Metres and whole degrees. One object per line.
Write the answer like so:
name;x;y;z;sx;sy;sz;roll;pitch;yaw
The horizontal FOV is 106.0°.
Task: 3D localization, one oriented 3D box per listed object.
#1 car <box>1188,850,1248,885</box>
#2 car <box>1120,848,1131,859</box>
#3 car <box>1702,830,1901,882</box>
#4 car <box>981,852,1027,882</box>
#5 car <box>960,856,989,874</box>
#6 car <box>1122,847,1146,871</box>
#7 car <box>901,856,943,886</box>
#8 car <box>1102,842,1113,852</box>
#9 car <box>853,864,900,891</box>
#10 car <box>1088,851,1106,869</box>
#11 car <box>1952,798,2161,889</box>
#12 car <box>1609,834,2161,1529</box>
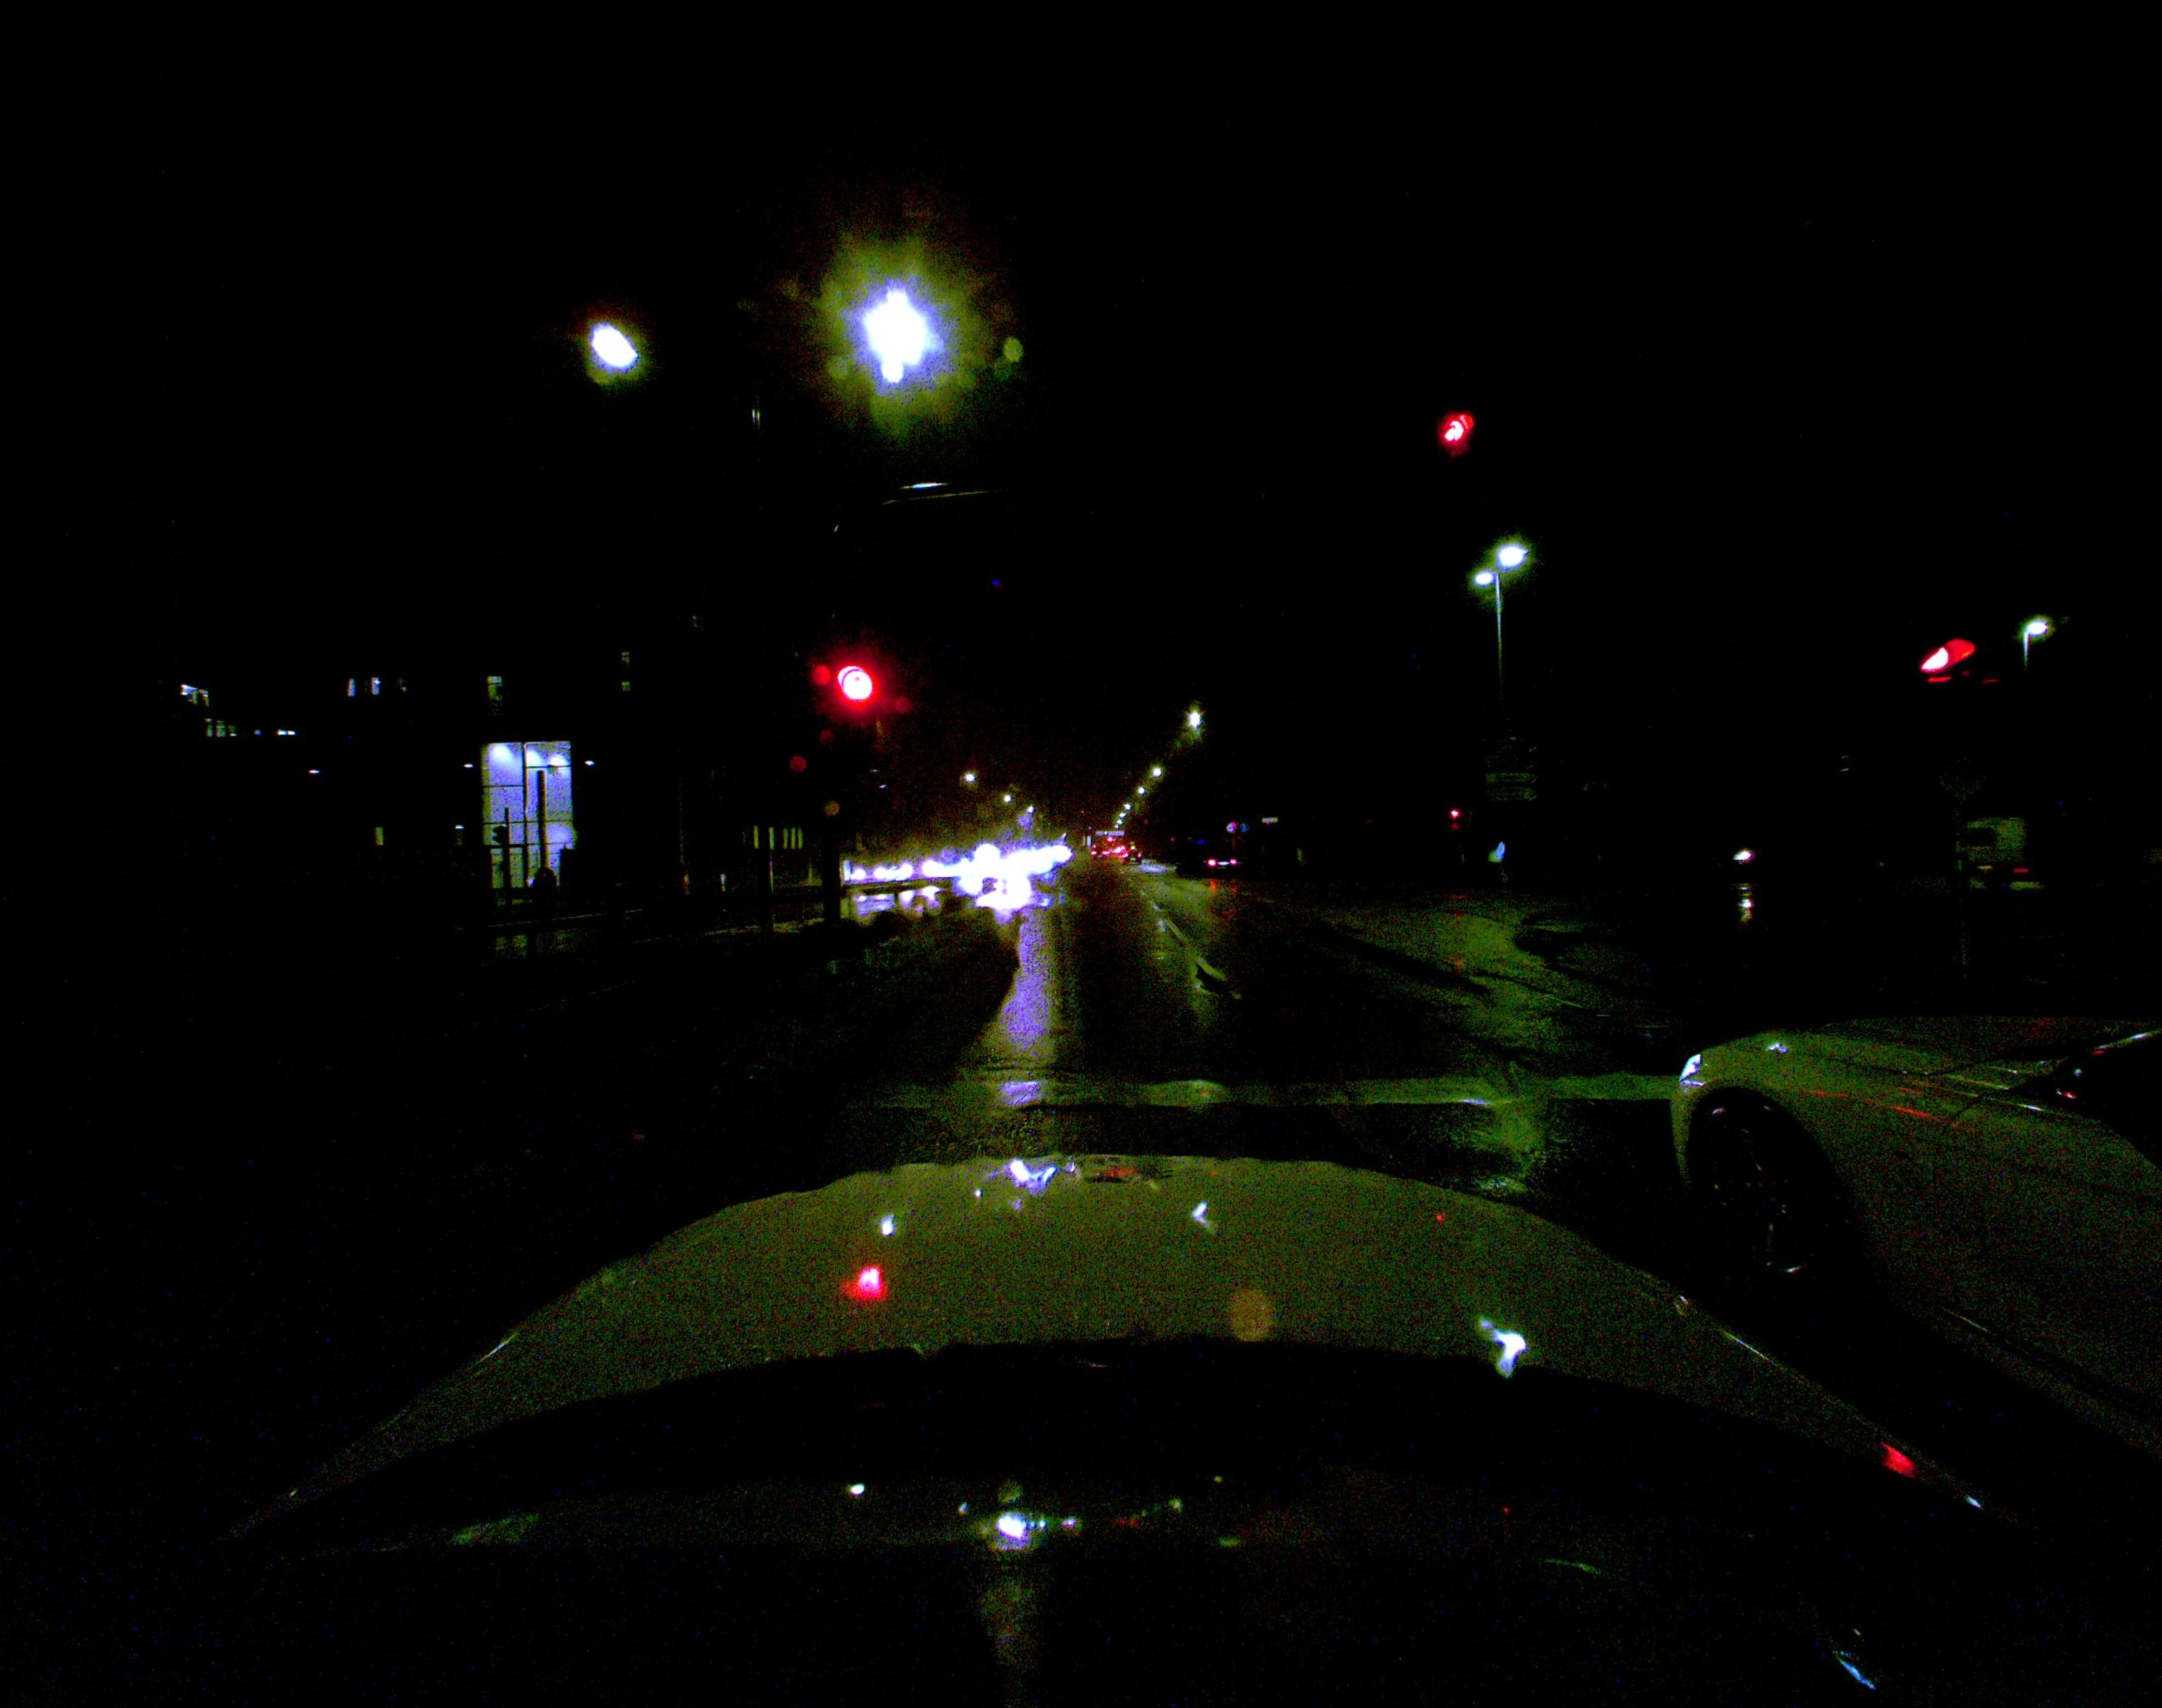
car;7.359;0.730;44.276;1.903;1.780;3.984;-1;-1;-11
car;8.445;-0.165;155.644;2.029;2.014;4.311;-1;-1;3
car;24.263;0.087;27.597;4.823;1.590;1.857;-1;-1;8
car;-4.353;0.741;46.918;1.986;1.610;4.972;-1;-1;2
car;-9.493;0.972;72.852;1.878;1.552;4.435;-1;-1;2
car;5.121;0.487;79.696;2.200;2.215;3.644;-1;-1;2
car;-9.742;1.031;50.227;1.745;1.709;4.496;-3;-1;-1
car;6.421;-1.764;198.392;2.434;2.194;5.076;-1;-1;-1
car;-12.551;1.386;50.215;1.794;1.564;4.001;-1;-1;2
car;1.878;0.673;94.800;1.986;2.014;4.001;-1;-1;2
car;23.371;-0.245;19.434;3.551;2.014;1.700;-1;-1;-6
car;3.133;0.678;1.302;1.714;1.446;4.383;-3;-1;1
